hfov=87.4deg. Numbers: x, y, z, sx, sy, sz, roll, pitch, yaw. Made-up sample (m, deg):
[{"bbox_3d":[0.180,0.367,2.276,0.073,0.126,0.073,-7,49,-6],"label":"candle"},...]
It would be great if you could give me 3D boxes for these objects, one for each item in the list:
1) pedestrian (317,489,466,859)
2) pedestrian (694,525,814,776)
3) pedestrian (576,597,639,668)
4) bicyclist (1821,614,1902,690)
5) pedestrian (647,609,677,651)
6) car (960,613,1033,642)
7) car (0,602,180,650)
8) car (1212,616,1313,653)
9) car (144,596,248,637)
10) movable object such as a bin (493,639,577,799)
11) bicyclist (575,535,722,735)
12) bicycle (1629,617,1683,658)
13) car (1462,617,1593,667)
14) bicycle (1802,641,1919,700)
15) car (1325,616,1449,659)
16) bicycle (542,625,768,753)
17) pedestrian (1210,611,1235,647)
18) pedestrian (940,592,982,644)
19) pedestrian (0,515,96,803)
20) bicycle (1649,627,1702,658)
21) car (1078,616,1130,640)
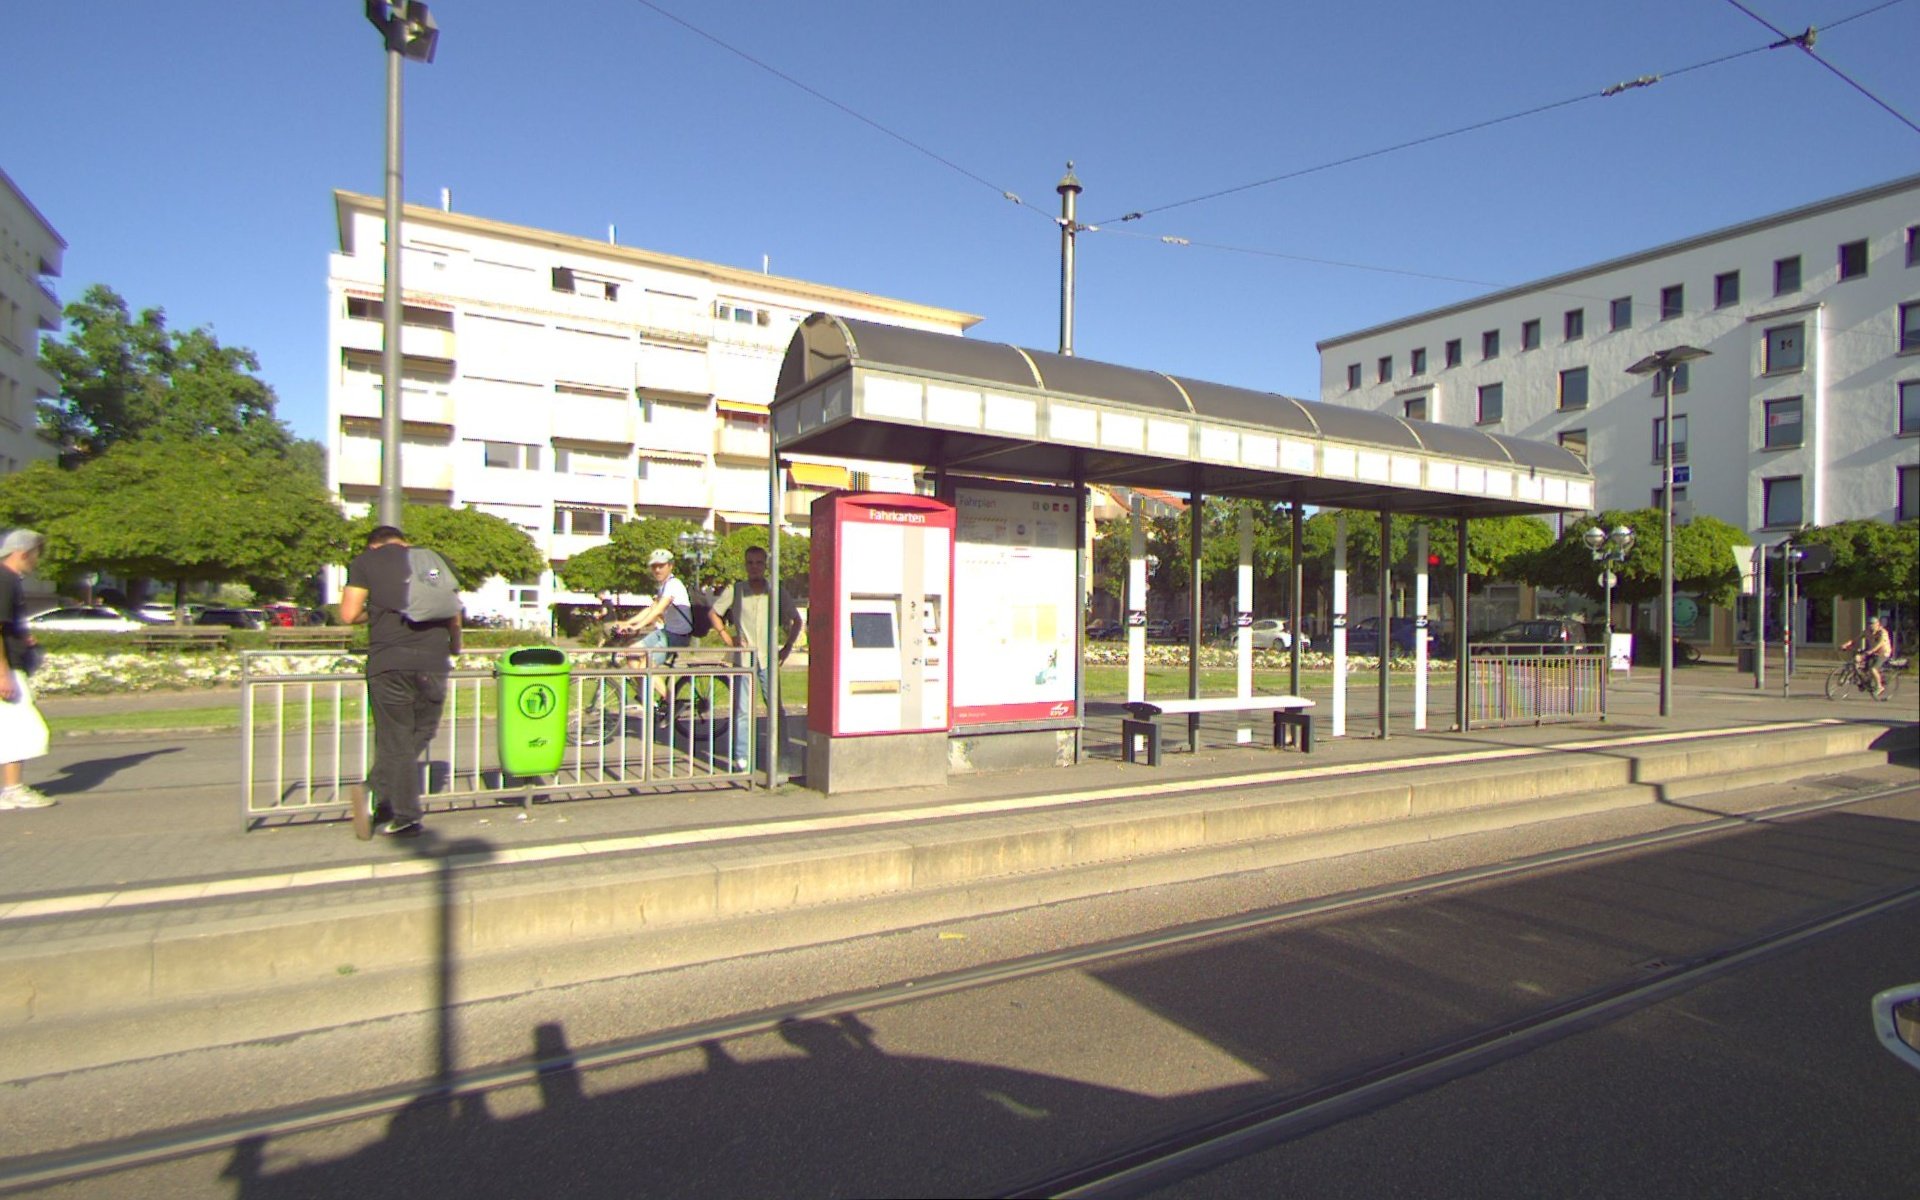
[{"bbox_3d":[-2.873,0.361,5.120,0.599,1.740,0.546,1,-3,-28],"label":"pedestrian"},{"bbox_3d":[-1.571,0.378,7.633,0.760,1.797,0.613,1,-3,-28],"label":"pedestrian"},{"bbox_3d":[-9.213,0.840,26.296,1.153,1.811,1.082,1,0,12],"label":"pedestrian"},{"bbox_3d":[18.367,1.049,20.479,0.860,1.475,0.830,2,0,-1],"label":"bicyclist"},{"bbox_3d":[-10.031,0.997,33.777,0.672,1.378,1.042,1,-1,-34],"label":"pedestrian"},{"bbox_3d":[1.815,1.343,49.803,3.271,1.372,1.638,1,-1,-29],"label":"car"},{"bbox_3d":[-25.342,0.742,29.414,3.672,1.318,1.984,1,-1,-30],"label":"car"},{"bbox_3d":[14.424,1.611,48.110,1.835,1.628,4.581,1,-1,-31],"label":"car"},{"bbox_3d":[-28.356,0.621,37.384,2.899,1.506,1.407,1,-1,-30],"label":"car"},{"bbox_3d":[-2.440,0.663,5.763,0.411,0.871,0.335,1,-1,-27],"label":"movable object such as a bin"},{"bbox_3d":[-3.066,0.332,9.878,1.086,1.817,0.996,1,-1,-38],"label":"bicyclist"},{"bbox_3d":[28.222,1.529,40.701,2.585,1.628,0.616,1,-1,-26],"label":"bicycle"},{"bbox_3d":[21.404,1.542,38.039,1.804,1.728,3.968,1,-1,-30],"label":"car"},{"bbox_3d":[18.445,1.433,20.479,1.938,1.128,0.730,1,0,0],"label":"bicycle"},{"bbox_3d":[18.203,1.546,43.028,1.978,1.684,4.581,1,-1,-31],"label":"car"},{"bbox_3d":[-2.974,0.825,9.929,2.018,1.141,0.706,1,-1,-39],"label":"bicycle"},{"bbox_3d":[13.859,1.530,53.067,0.856,1.841,0.944,1,0,-19],"label":"pedestrian"},{"bbox_3d":[0.031,0.709,39.596,1.219,2.040,1.214,1,-1,-30],"label":"pedestrian"},{"bbox_3d":[-6.112,0.357,6.163,0.979,1.702,0.972,-1,-2,32],"label":"pedestrian"},{"bbox_3d":[28.547,1.681,40.057,2.586,1.206,0.615,1,-1,-27],"label":"bicycle"},{"bbox_3d":[9.714,1.839,67.358,1.887,1.514,4.343,1,0,31],"label":"car"}]
